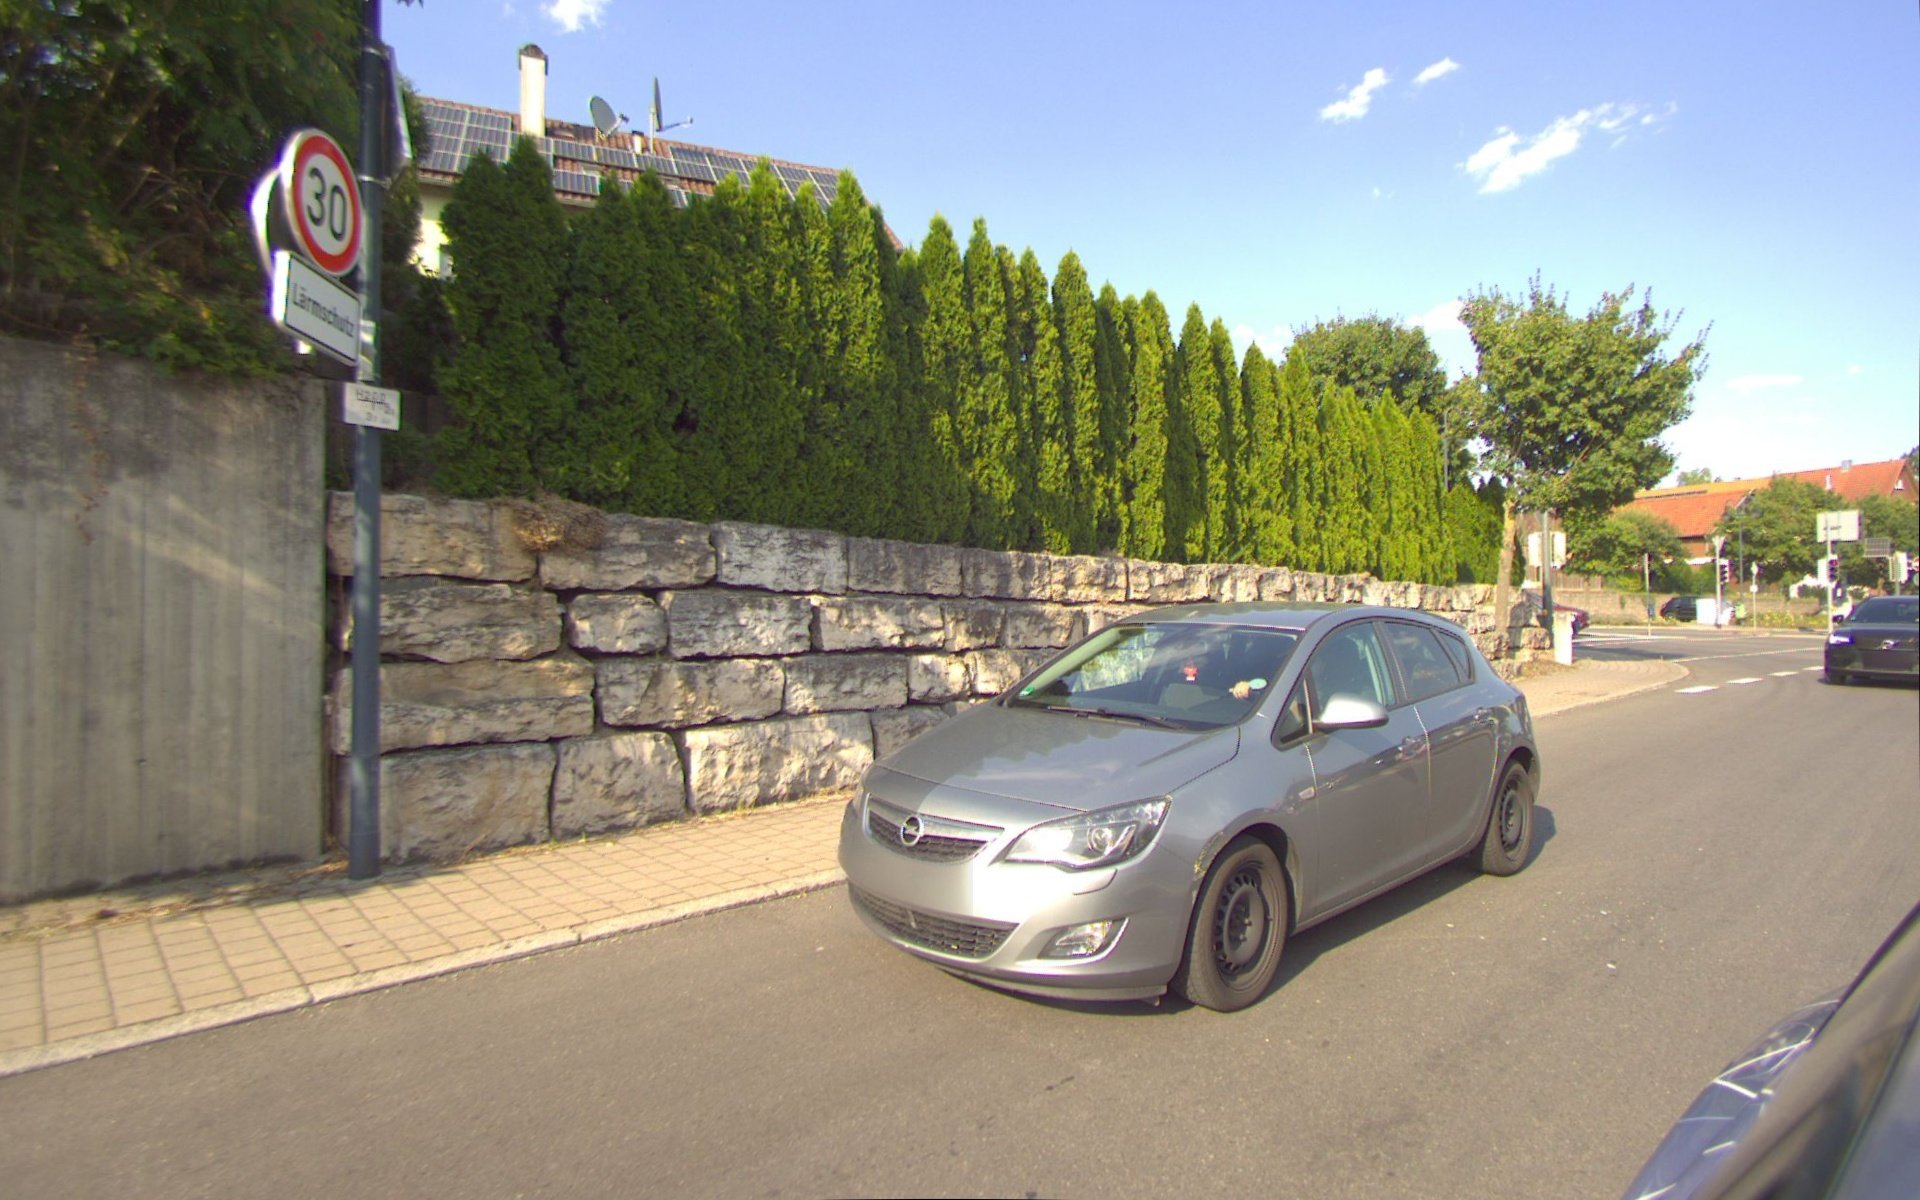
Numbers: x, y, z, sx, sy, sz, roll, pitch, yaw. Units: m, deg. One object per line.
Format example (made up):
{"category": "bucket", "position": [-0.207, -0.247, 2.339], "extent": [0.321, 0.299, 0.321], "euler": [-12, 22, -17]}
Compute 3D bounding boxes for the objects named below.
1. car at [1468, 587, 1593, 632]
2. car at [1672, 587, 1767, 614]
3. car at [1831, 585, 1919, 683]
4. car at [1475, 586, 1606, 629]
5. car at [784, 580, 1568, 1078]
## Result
{"category": "car", "position": [20.837, 0.322, 37.030], "extent": [3.779, 1.561, 1.576], "euler": [0, 0, 39]}
{"category": "car", "position": [43.936, 0.032, 58.650], "extent": [1.644, 1.475, 4.086], "euler": [1, 0, -26]}
{"category": "car", "position": [17.214, 0.577, 18.129], "extent": [3.983, 1.626, 1.791], "euler": [1, 0, -39]}
{"category": "car", "position": [23.264, 0.282, 40.657], "extent": [1.831, 1.646, 4.241], "euler": [1, -1, -44]}
{"category": "car", "position": [1.341, 0.675, 4.947], "extent": [4.071, 1.440, 1.650], "euler": [1, 1, -42]}
